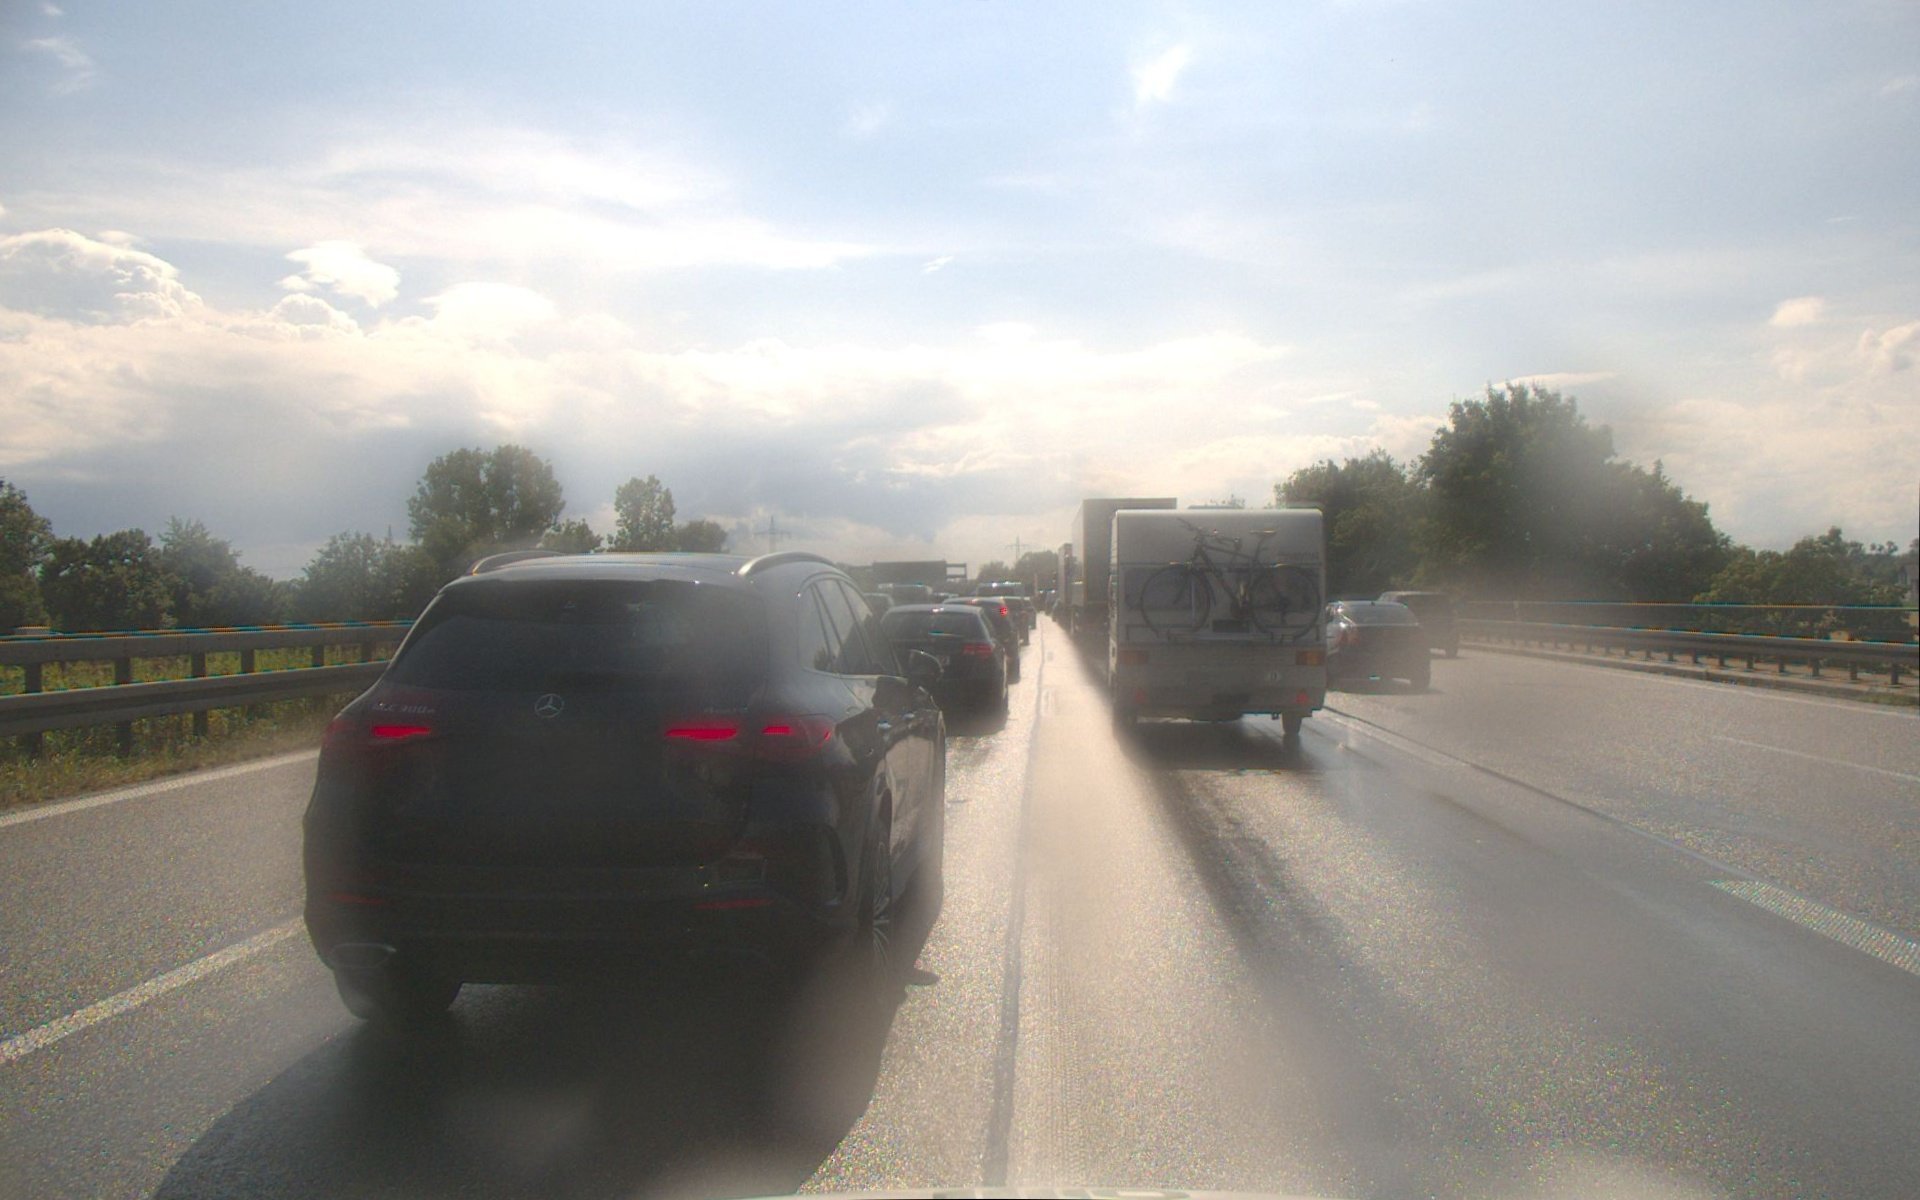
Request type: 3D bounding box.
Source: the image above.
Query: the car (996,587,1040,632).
[{"bbox_3d":[2.745,0.434,77.537,1.952,2.049,4.002,1,0,4],"label":"car"}]

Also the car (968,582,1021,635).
[{"bbox_3d":[1.400,0.325,65.563,1.952,2.049,4.002,0,0,4],"label":"car"}]

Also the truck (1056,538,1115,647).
[{"bbox_3d":[5.915,-0.327,78.799,2.450,4.914,7.545,0,0,2],"label":"truck"}]

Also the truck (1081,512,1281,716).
[{"bbox_3d":[2.953,0.173,23.415,2.324,2.520,5.758,0,0,3],"label":"truck"}]

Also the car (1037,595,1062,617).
[{"bbox_3d":[7.227,0.501,134.274,1.837,1.791,4.000,0,0,0],"label":"car"}]

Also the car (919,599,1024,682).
[{"bbox_3d":[0.271,0.708,30.914,1.768,1.432,4.001,0,0,3],"label":"car"}]

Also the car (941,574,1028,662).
[{"bbox_3d":[0.666,0.420,40.980,1.952,2.049,4.002,0,0,4],"label":"car"}]

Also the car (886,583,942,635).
[{"bbox_3d":[-1.936,0.361,71.087,1.952,2.048,4.002,3,0,4],"label":"car"}]

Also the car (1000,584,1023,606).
[{"bbox_3d":[4.346,-0.412,139.467,1.837,1.791,4.000,0,0,0],"label":"car"}]

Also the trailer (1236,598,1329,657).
[{"bbox_3d":[8.437,0.678,43.572,1.816,1.467,4.149,0,0,3],"label":"trailer"}]

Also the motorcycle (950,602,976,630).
[{"bbox_3d":[0.144,0.734,77.747,1.051,1.293,2.691,0,0,4],"label":"motorcycle"}]

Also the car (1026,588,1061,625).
[{"bbox_3d":[4.985,0.376,98.542,1.952,2.048,4.002,3,0,4],"label":"car"}]

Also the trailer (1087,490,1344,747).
[{"bbox_3d":[2.771,0.184,19.608,2.324,2.527,6.525,0,0,3],"label":"trailer"}]

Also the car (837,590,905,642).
[{"bbox_3d":[-3.143,0.542,59.223,1.952,1.803,4.002,0,0,4],"label":"car"}]

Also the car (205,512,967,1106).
[{"bbox_3d":[-1.085,0.603,6.969,1.952,1.690,4.408,0,0,4],"label":"car"}]

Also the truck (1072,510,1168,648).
[{"bbox_3d":[5.159,-0.653,53.524,2.932,4.239,5.243,0,0,5],"label":"truck"}]

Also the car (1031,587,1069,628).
[{"bbox_3d":[4.793,0.375,87.708,1.952,2.049,4.002,1,0,4],"label":"car"}]

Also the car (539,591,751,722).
[{"bbox_3d":[-4.004,0.666,21.741,1.720,1.543,4.211,0,0,4],"label":"car"}]

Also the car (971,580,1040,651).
[{"bbox_3d":[1.506,0.478,52.905,1.952,2.048,4.002,3,0,4],"label":"car"}]

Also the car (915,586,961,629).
[{"bbox_3d":[-1.084,0.350,82.304,1.952,2.049,4.002,1,0,4],"label":"car"}]

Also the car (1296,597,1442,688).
[{"bbox_3d":[6.912,0.676,28.319,1.704,1.445,3.837,0,0,3],"label":"car"}]

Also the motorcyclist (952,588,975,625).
[{"bbox_3d":[0.151,0.291,77.810,1.041,1.748,0.785,0,0,3],"label":"motorcyclist"}]

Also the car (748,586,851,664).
[{"bbox_3d":[-3.788,0.570,39.594,1.952,1.750,4.001,0,0,1],"label":"car"}]

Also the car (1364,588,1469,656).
[{"bbox_3d":[11.741,0.532,42.800,1.751,1.641,4.387,0,0,3],"label":"car"}]

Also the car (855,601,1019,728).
[{"bbox_3d":[-0.188,0.729,20.607,1.720,1.411,3.947,0,0,4],"label":"car"}]

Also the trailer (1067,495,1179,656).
[{"bbox_3d":[4.681,-0.648,48.022,2.943,4.239,8.541,0,0,5],"label":"trailer"}]
